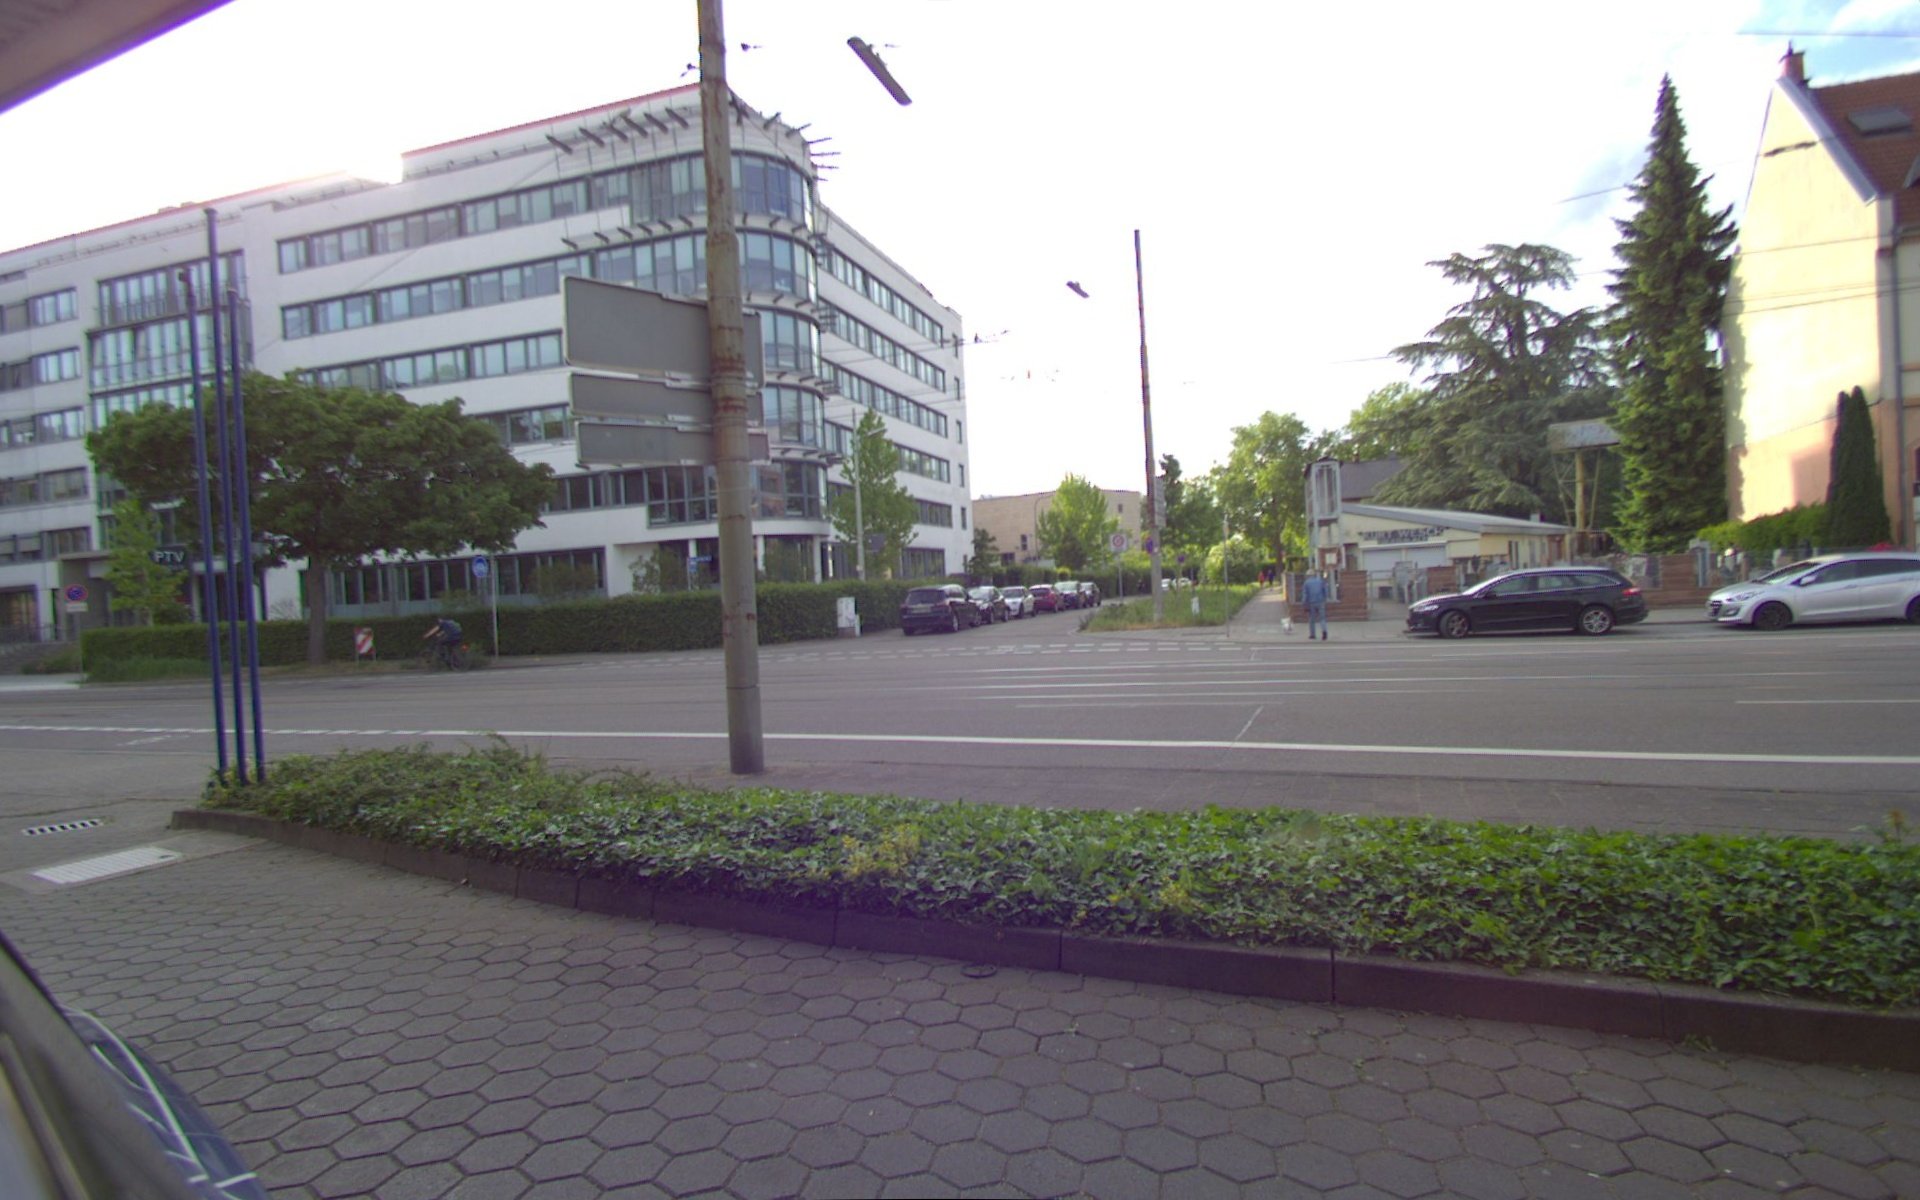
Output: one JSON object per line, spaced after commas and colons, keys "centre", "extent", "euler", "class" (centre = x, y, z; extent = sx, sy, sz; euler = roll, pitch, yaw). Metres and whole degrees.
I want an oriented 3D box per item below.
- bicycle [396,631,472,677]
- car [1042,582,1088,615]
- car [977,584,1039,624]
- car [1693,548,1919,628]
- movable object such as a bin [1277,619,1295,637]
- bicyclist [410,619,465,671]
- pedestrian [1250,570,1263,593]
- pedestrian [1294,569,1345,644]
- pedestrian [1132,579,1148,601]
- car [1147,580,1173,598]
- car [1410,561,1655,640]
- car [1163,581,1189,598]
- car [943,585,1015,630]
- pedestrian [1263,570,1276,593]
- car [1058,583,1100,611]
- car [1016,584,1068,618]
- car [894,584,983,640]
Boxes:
{"centre": [-15.148, 1.552, 29.178], "extent": [1.863, 1.248, 0.788], "euler": [-1, 0, 11], "class": "bicycle"}
{"centre": [6.033, -0.127, 57.802], "extent": [1.807, 1.704, 4.392], "euler": [-4, 0, 16], "class": "car"}
{"centre": [2.226, 0.159, 45.682], "extent": [1.807, 1.589, 4.175], "euler": [-4, 0, 16], "class": "car"}
{"centre": [18.408, -0.258, 21.394], "extent": [4.349, 1.493, 1.732], "euler": [-3, 1, 22], "class": "car"}
{"centre": [8.446, 0.722, 26.229], "extent": [0.363, 0.397, 0.660], "euler": [-3, 3, 13], "class": "movable object such as a bin"}
{"centre": [-15.034, 1.284, 29.154], "extent": [1.163, 1.462, 0.788], "euler": [-1, 0, 11], "class": "bicyclist"}
{"centre": [24.280, -1.498, 82.784], "extent": [0.965, 1.896, 1.056], "euler": [-1, 0, 17], "class": "pedestrian"}
{"centre": [8.609, 0.145, 24.246], "extent": [0.899, 1.712, 0.923], "euler": [-3, 2, 7], "class": "pedestrian"}
{"centre": [16.239, -0.889, 91.330], "extent": [0.973, 1.896, 1.047], "euler": [-1, 0, 43], "class": "pedestrian"}
{"centre": [19.960, -1.119, 100.904], "extent": [1.811, 1.654, 4.044], "euler": [-4, 0, 22], "class": "car"}
{"centre": [13.015, 0.016, 23.364], "extent": [4.632, 1.533, 1.842], "euler": [-3, 2, 22], "class": "car"}
{"centre": [22.837, -1.138, 106.851], "extent": [1.813, 1.654, 4.040], "euler": [-4, 0, 25], "class": "car"}
{"centre": [0.832, 0.276, 40.978], "extent": [1.807, 1.589, 4.175], "euler": [-4, 0, 16], "class": "car"}
{"centre": [25.253, -1.510, 82.494], "extent": [0.965, 1.896, 1.056], "euler": [-1, 0, 17], "class": "pedestrian"}
{"centre": [7.388, -0.204, 62.568], "extent": [1.807, 1.585, 4.052], "euler": [-4, 0, 16], "class": "car"}
{"centre": [4.302, 0.030, 52.404], "extent": [1.807, 1.589, 4.175], "euler": [-4, 0, 16], "class": "car"}
{"centre": [-0.685, 0.362, 35.563], "extent": [1.807, 1.701, 4.370], "euler": [-4, 1, 16], "class": "car"}
